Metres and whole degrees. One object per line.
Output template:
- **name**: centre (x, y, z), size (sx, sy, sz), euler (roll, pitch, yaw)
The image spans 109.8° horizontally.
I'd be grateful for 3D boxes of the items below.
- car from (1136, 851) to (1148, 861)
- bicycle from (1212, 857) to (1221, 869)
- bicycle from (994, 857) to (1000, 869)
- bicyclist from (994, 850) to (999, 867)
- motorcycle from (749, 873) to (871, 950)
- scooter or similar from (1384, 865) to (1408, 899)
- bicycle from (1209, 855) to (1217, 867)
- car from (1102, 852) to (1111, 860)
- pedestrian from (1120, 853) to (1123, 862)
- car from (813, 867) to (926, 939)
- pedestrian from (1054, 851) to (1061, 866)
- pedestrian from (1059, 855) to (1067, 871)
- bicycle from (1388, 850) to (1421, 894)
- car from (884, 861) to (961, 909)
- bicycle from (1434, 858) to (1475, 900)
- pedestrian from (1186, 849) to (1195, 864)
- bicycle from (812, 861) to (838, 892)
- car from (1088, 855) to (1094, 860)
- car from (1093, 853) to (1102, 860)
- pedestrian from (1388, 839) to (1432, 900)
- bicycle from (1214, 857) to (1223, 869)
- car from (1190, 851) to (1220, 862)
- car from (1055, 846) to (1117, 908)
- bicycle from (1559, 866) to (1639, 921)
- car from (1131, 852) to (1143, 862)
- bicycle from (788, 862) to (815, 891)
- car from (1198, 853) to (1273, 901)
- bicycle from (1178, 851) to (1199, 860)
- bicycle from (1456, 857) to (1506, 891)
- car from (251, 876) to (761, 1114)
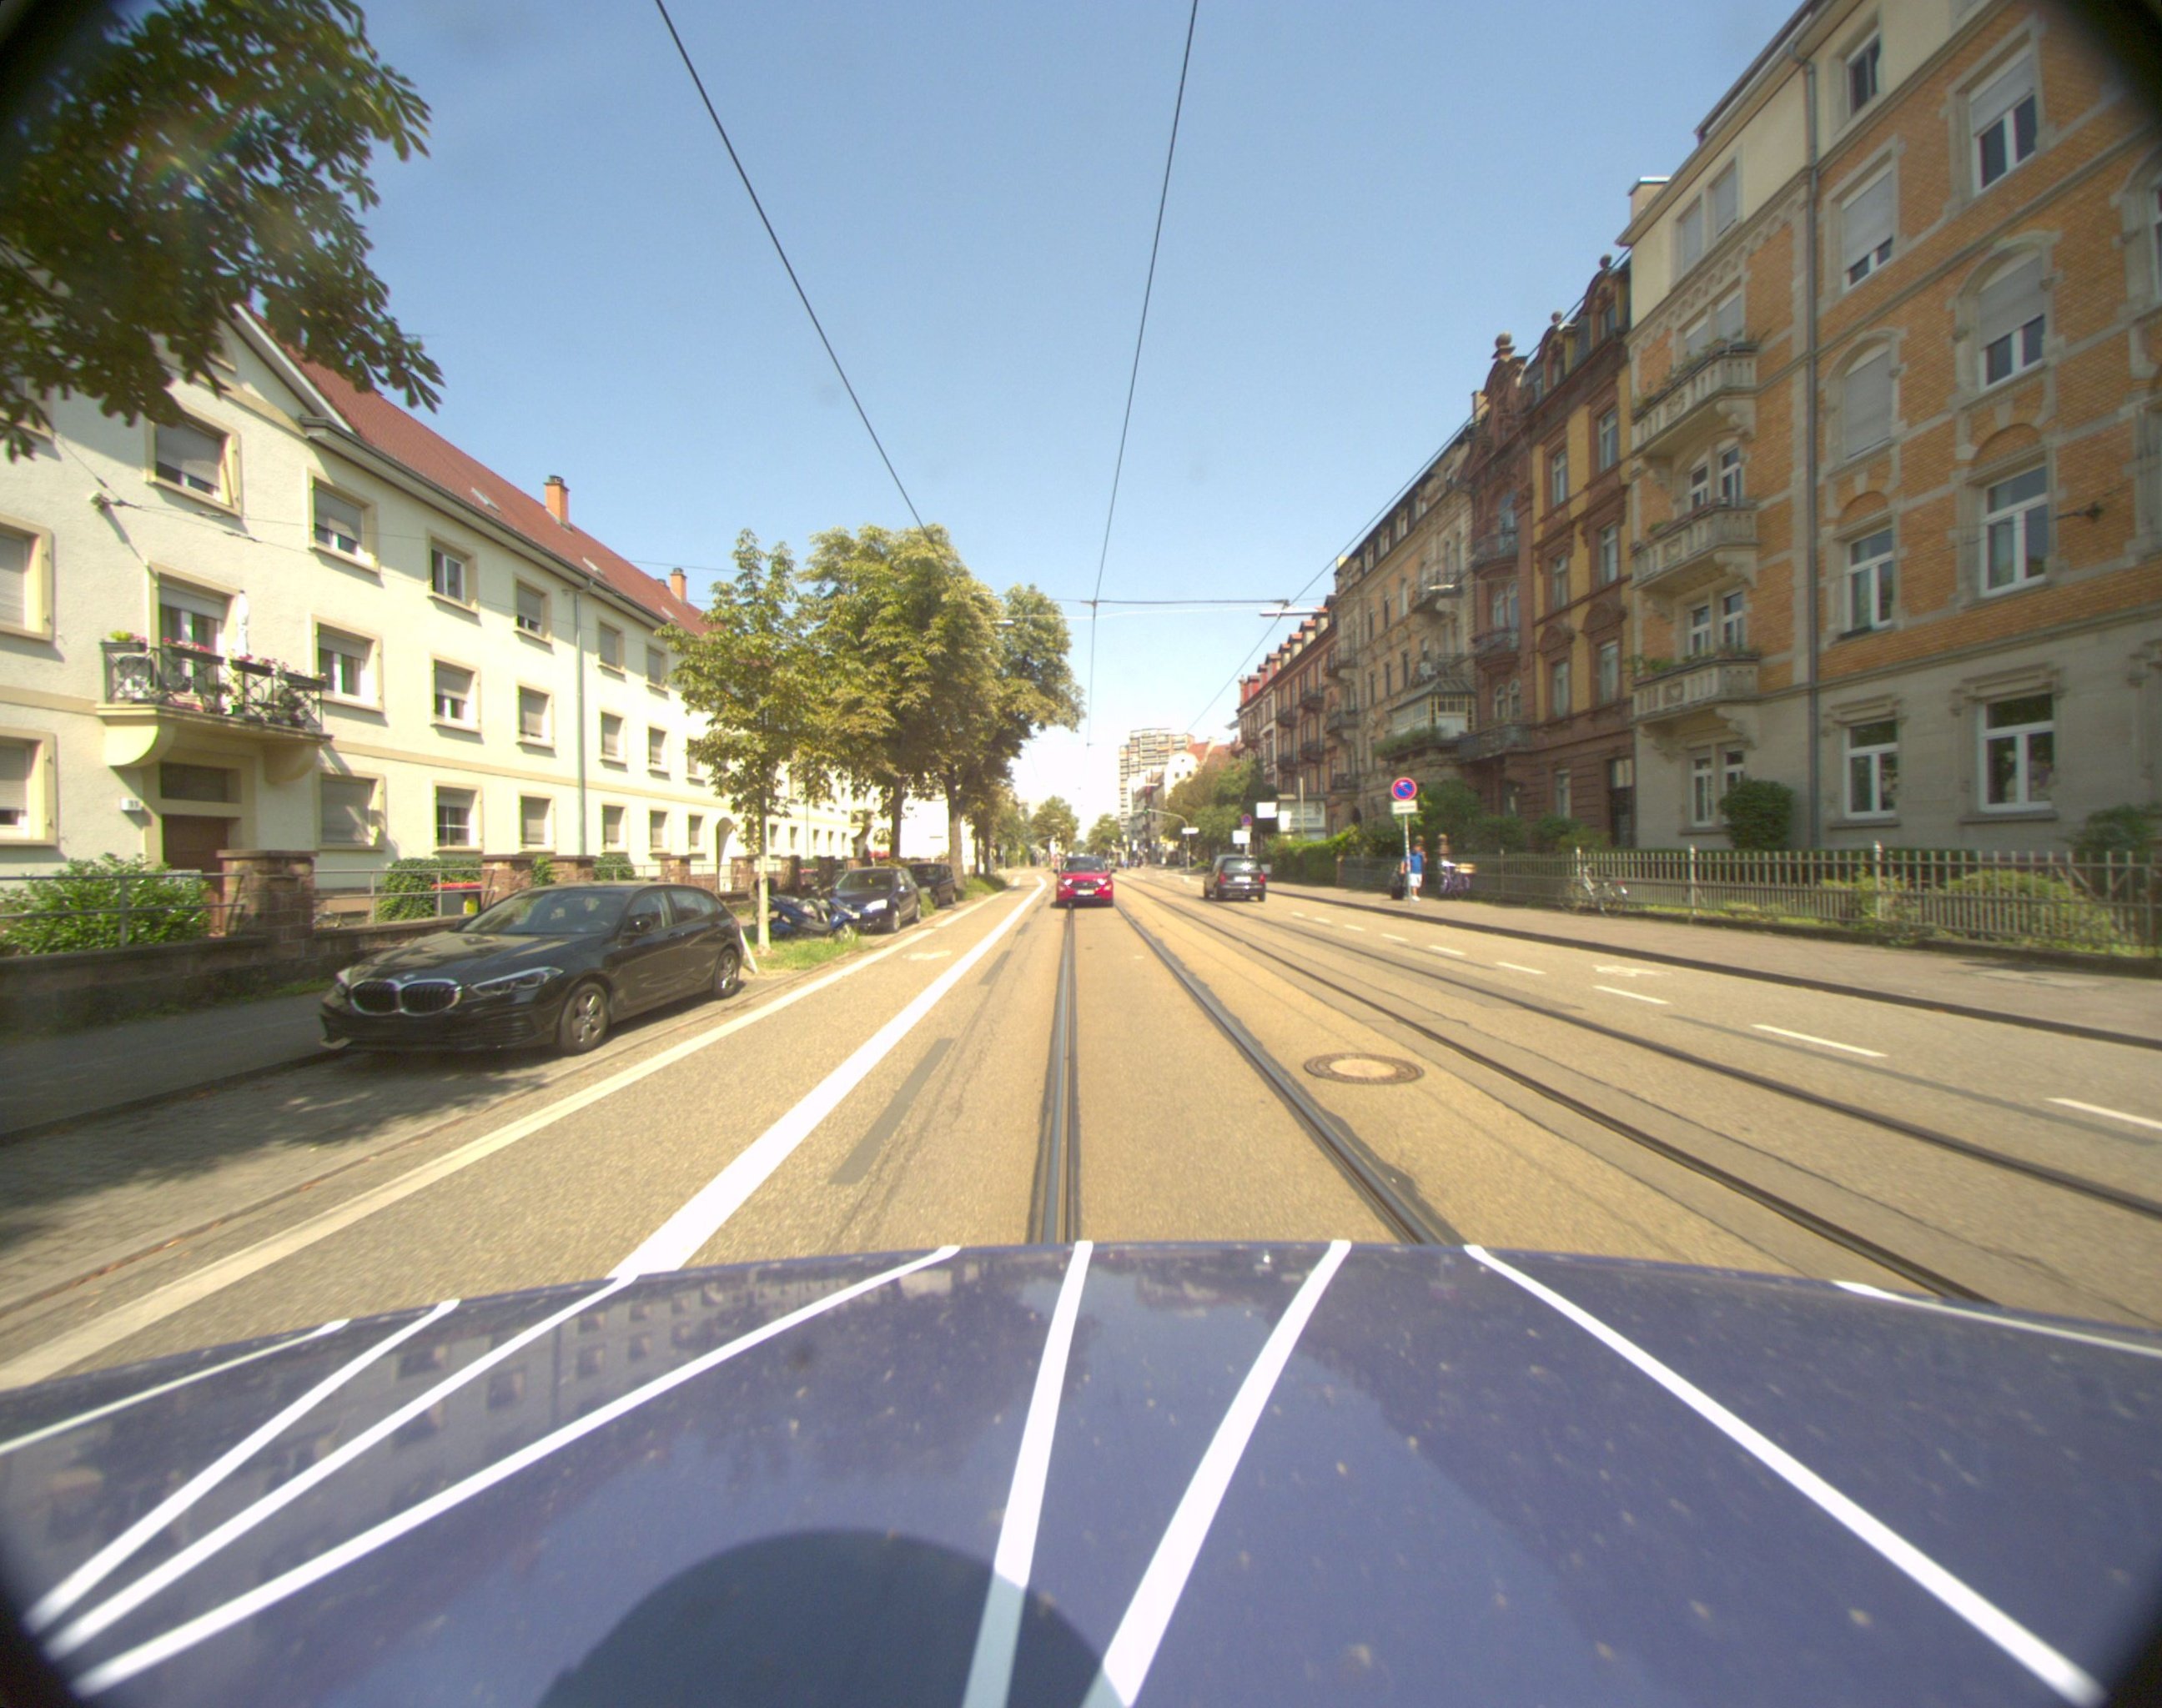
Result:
- **car**: centre (11.181, 0.383, 139.303), size (1.998, 1.716, 4.630), euler (0, 0, 0)
- **bicycle**: centre (11.590, 0.766, 65.072), size (0.488, 0.936, 1.657), euler (-1, 0, 3)
- **bicycle**: centre (-7.807, 0.852, 70.529), size (0.441, 1.041, 1.828), euler (-1, 0, -3)
- **bicyclist**: centre (-7.824, 0.429, 70.617), size (0.438, 1.503, 0.472), euler (-1, 1, -3)
- **motorcycle**: centre (-5.101, 1.071, 14.397), size (2.009, 1.360, 0.782), euler (-1, 1, -3)
- **scooter or similar**: centre (9.440, 0.843, 22.794), size (0.401, 0.977, 0.584), euler (-2, 1, -8)
- **bicycle**: centre (11.823, 0.621, 67.956), size (0.488, 1.015, 1.778), euler (-1, 0, 3)
- **car**: centre (5.286, 0.419, 157.857), size (1.998, 1.716, 4.631), euler (0, 0, 1)
- **pedestrian**: centre (5.738, 0.475, 107.465), size (0.480, 1.243, 0.648), euler (-1, 0, 1)
- **car**: centre (-4.976, 1.102, 18.449), size (1.621, 1.468, 4.038), euler (0, 0, 0)
- **pedestrian**: centre (-2.993, 0.524, 96.956), size (0.674, 1.874, 0.923), euler (-1, 0, 10)
- **pedestrian**: centre (-2.144, 1.060, 91.068), size (0.676, 1.874, 0.921), euler (-1, 0, -20)
- **bicycle**: centre (10.567, 0.569, 24.847), size (0.391, 1.397, 1.582), euler (-1, 0, 0)
- **car**: centre (-5.429, 1.023, 26.440), size (1.620, 1.521, 3.500), euler (0, 0, 6)
- **bicycle**: centre (10.569, 0.691, 21.538), size (0.391, 1.141, 1.582), euler (-1, 0, 0)
- **pedestrian**: centre (15.241, 0.362, 105.852), size (1.094, 2.002, 1.036), euler (-2, 1, -1)
- **bicycle**: centre (-10.128, 0.887, 30.113), size (0.469, 1.153, 1.717), euler (-1, 0, -1)
- **car**: centre (3.153, 1.103, 239.723), size (1.998, 1.716, 4.630), euler (0, 0, 0)
- **car**: centre (4.029, 0.659, 182.716), size (1.998, 1.716, 4.631), euler (0, 0, 2)
- **pedestrian**: centre (9.619, 0.451, 22.264), size (0.885, 1.746, 0.870), euler (-1, 1, 0)
- **bicycle**: centre (11.434, 0.735, 63.272), size (0.488, 0.980, 1.657), euler (-1, 0, 3)
- **car**: centre (20.692, 0.432, 126.926), size (4.617, 1.716, 2.004), euler (0, 0, 43)
- **car**: centre (0.190, 0.709, 24.654), size (1.803, 1.801, 4.417), euler (-1, -1, 1)
- **bicycle**: centre (10.612, 0.781, 15.645), size (0.391, 1.032, 1.833), euler (-1, 0, 0)
- **car**: centre (8.638, 0.483, 116.798), size (1.731, 1.425, 4.177), euler (-1, 1, 3)
- **bicycle**: centre (-11.213, 0.885, 30.540), size (0.469, 1.087, 1.717), euler (-1, 0, -1)
- **car**: centre (5.291, 0.733, 26.514), size (1.832, 1.531, 4.000), euler (0, 0, 0)
- **bicycle**: centre (17.811, 0.250, 126.380), size (1.225, 1.428, 3.475), euler (-1, 0, -44)
- **bicycle**: centre (12.668, 0.628, 24.071), size (1.403, 1.026, 0.391), euler (-1, 1, -3)
- **car**: centre (-5.089, 1.084, 7.705), size (1.760, 1.469, 4.456), euler (2, 1, 0)
